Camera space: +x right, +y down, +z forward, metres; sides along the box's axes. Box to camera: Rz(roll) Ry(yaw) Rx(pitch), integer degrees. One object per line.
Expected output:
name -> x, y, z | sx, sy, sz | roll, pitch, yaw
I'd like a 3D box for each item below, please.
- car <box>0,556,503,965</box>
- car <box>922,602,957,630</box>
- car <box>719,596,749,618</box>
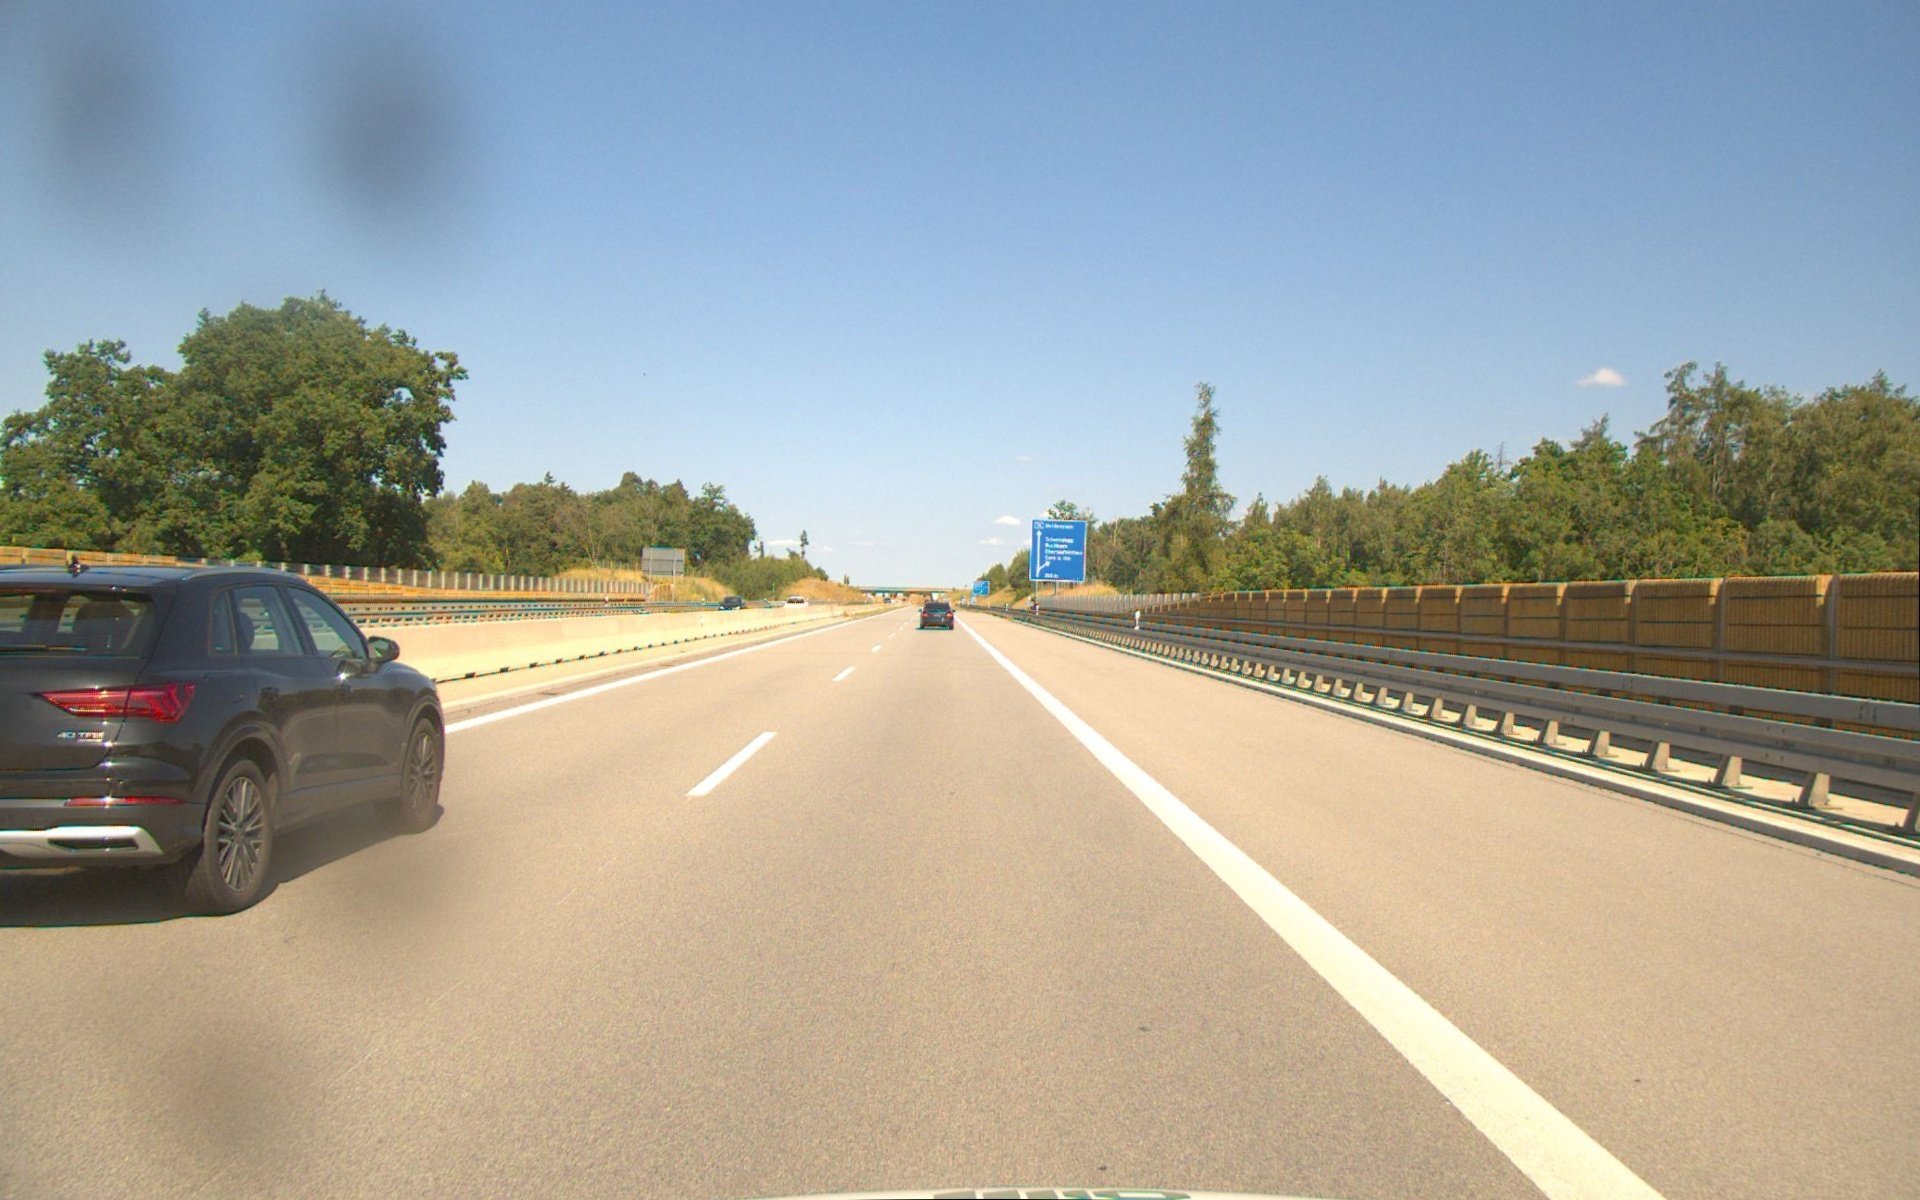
car -> -4.092, 0.629, 9.159 | 1.687, 1.615, 5.221 | 1, 0, -1
car -> -1.072, 0.805, 85.556 | 1.753, 1.398, 3.916 | 1, 0, -1
car -> -15.512, 0.470, 113.663 | 1.547, 1.483, 4.448 | 1, 0, -1
